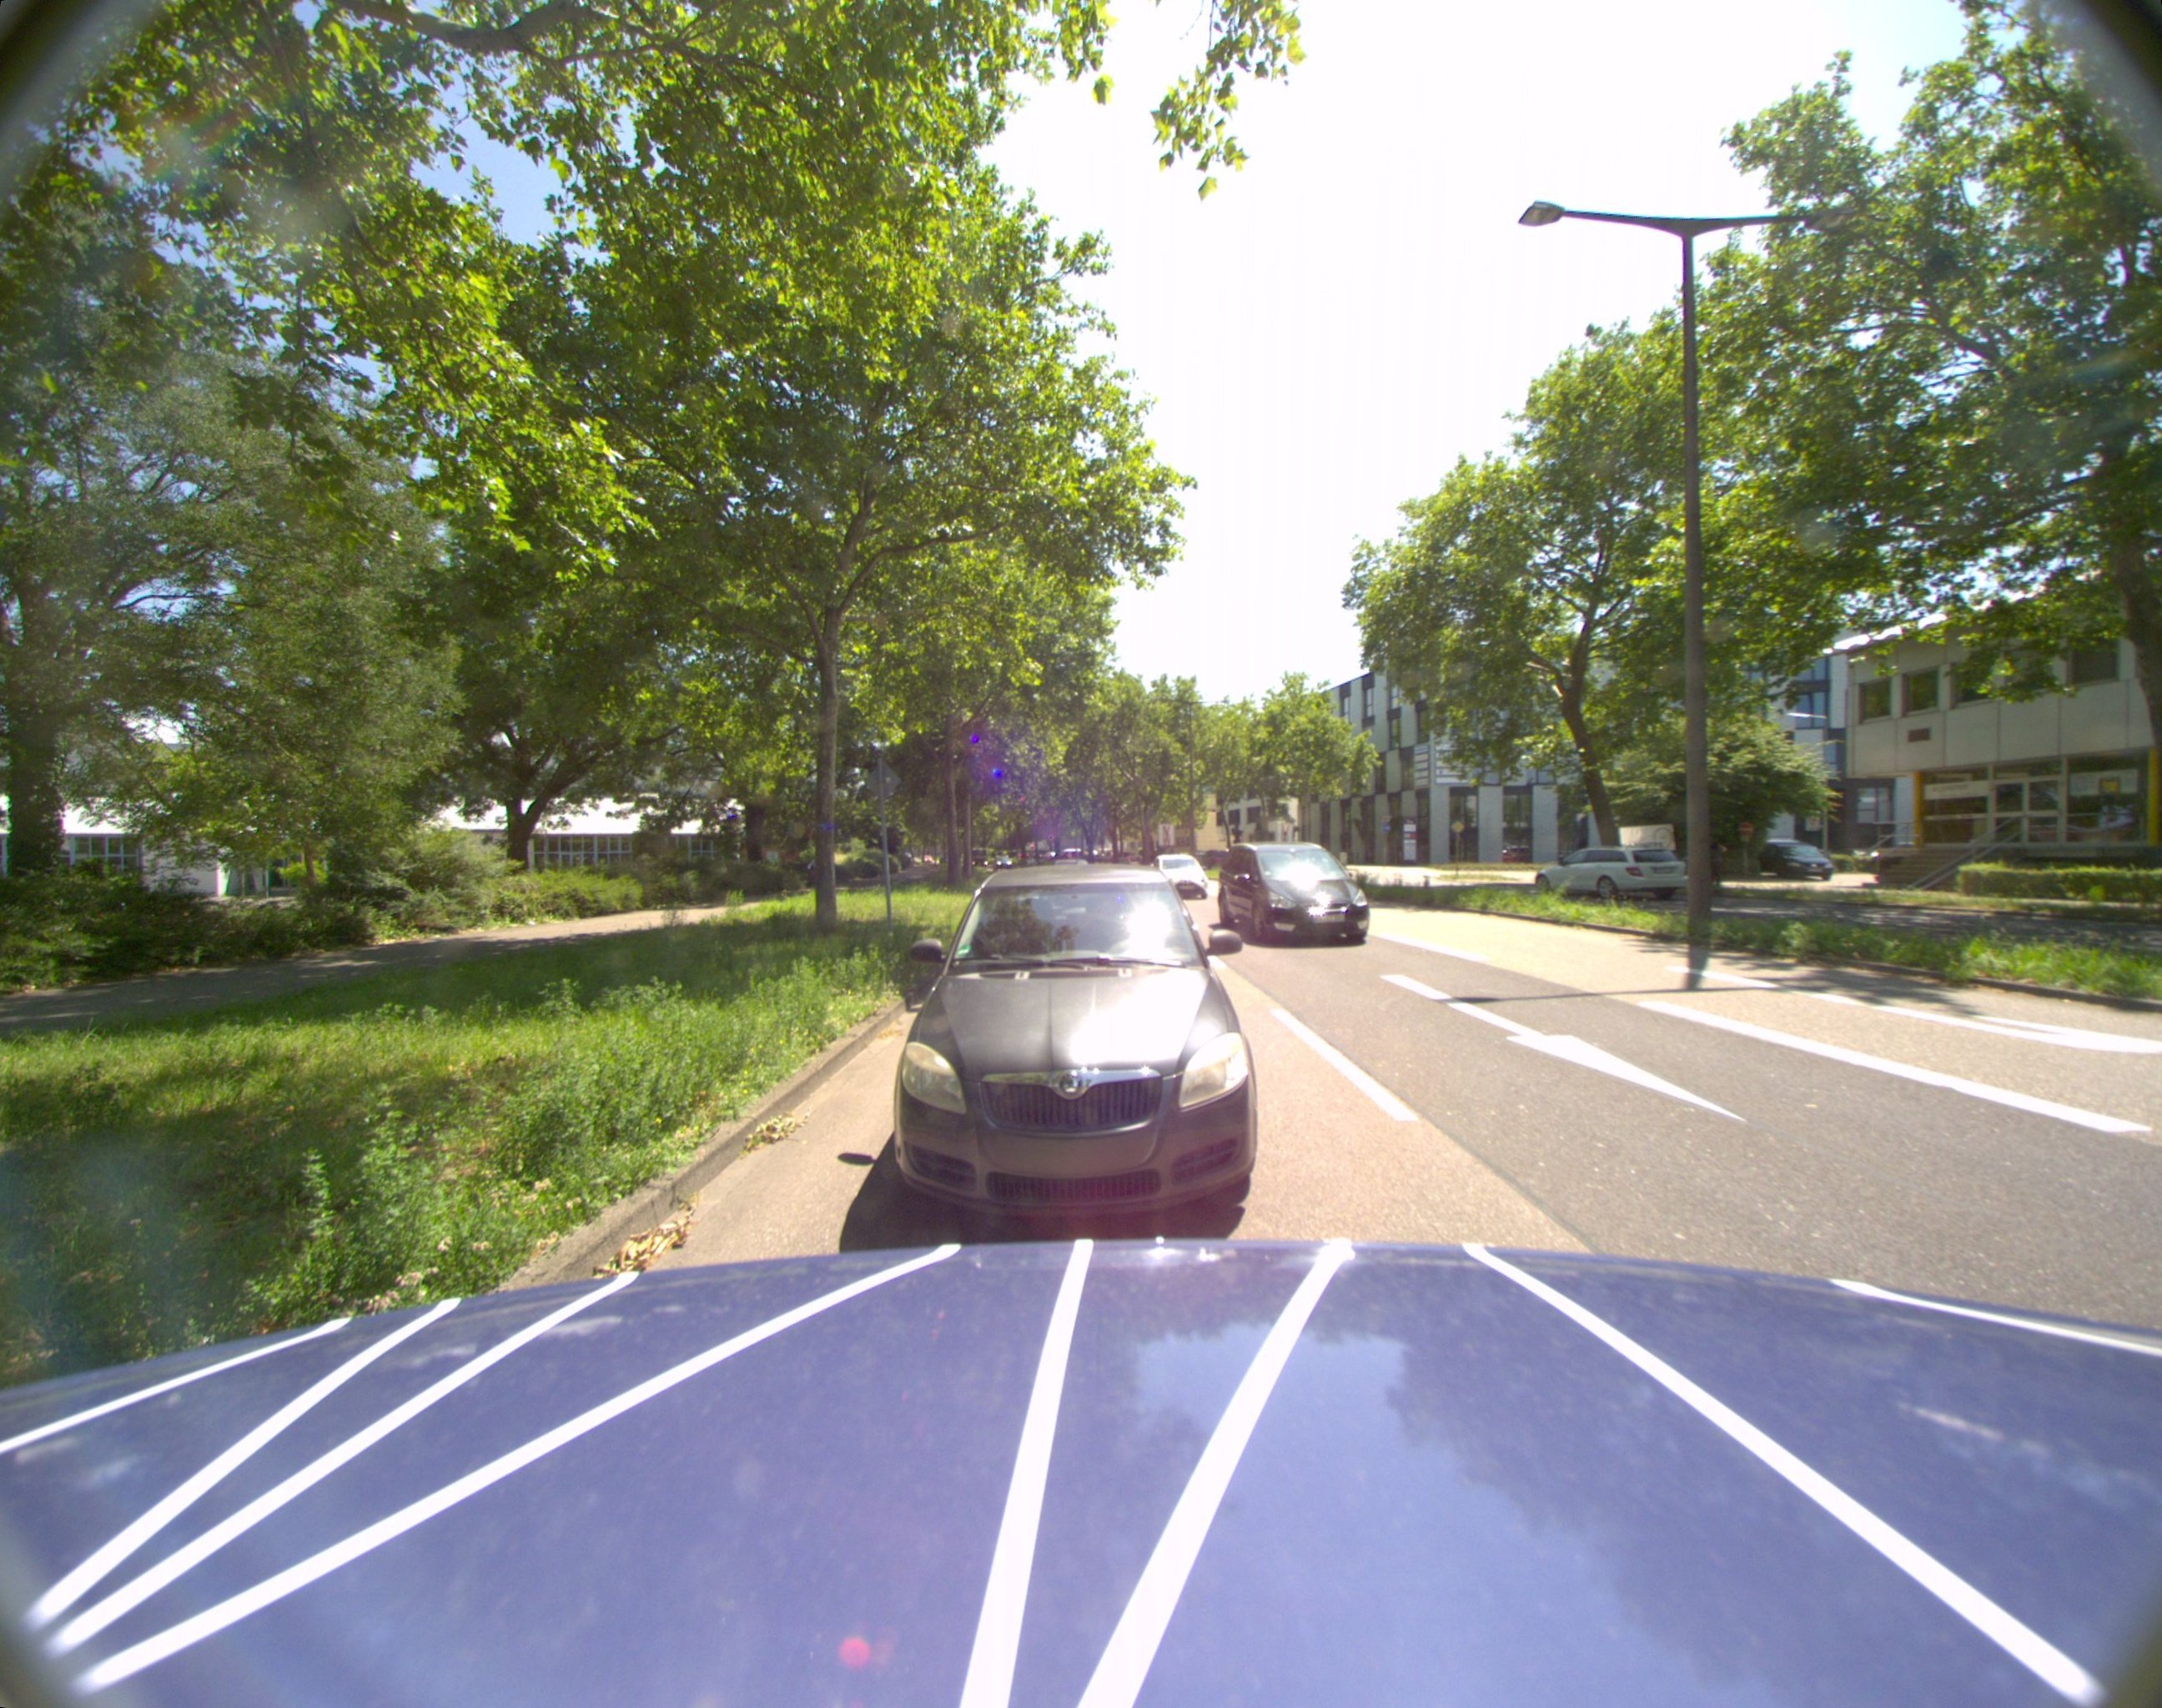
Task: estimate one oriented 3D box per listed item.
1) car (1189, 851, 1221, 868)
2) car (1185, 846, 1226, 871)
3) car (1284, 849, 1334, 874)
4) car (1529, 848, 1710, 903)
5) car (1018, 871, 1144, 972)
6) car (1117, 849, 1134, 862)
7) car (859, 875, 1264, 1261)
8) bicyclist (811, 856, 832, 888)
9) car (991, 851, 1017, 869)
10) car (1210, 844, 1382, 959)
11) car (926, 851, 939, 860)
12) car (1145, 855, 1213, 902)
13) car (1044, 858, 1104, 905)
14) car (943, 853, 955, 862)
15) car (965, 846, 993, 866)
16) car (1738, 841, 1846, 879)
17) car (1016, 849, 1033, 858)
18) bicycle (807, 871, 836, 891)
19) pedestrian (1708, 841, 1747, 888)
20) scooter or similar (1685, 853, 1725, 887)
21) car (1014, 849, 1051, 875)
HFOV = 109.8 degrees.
[{"bbox_3d":[11.100,0.496,68.250,1.757,1.435,3.669,-1,0,-10],"label":"car"},{"bbox_3d":[8.700,0.305,53.343,1.954,1.646,4.620,-1,0,-2],"label":"car"},{"bbox_3d":[13.982,0.416,46.786,1.737,1.450,3.672,-1,0,-4],"label":"car"},{"bbox_3d":[15.214,0.550,21.832,1.858,1.410,4.546,-1,0,-3],"label":"car"},{"bbox_3d":[0.029,1.026,12.885,1.791,1.325,3.742,-2,0,1],"label":"car"},{"bbox_3d":[5.121,0.186,87.321,1.537,1.519,2.852,-1,0,-6],"label":"car"},{"bbox_3d":[-0.056,0.951,5.098,1.654,1.453,3.865,-1,0,1],"label":"car"},{"bbox_3d":[-11.024,0.746,32.319,0.600,1.331,0.666,-1,1,8],"label":"bicyclist"},{"bbox_3d":[-8.364,0.640,82.510,2.001,1.783,3.994,-1,0,-17],"label":"car"},{"bbox_3d":[3.726,0.727,14.120,1.859,1.745,4.648,-1,0,0],"label":"car"},{"bbox_3d":[-28.687,0.261,146.878,2.002,1.827,3.993,-1,0,-19],"label":"car"},{"bbox_3d":[3.301,0.800,26.284,1.623,1.437,3.650,-2,0,-4],"label":"car"},{"bbox_3d":[-0.198,0.896,26.288,1.878,1.448,3.786,-2,0,1],"label":"car"},{"bbox_3d":[-22.637,0.593,130.345,1.510,1.379,3.422,-1,0,-19],"label":"car"},{"bbox_3d":[-14.304,0.218,106.362,2.922,2.639,6.356,-1,1,-16],"label":"car"},{"bbox_3d":[32.821,0.239,35.194,1.819,1.638,3.528,-2,1,4],"label":"car"},{"bbox_3d":[-10.518,-0.149,141.606,1.957,1.600,3.992,-1,0,-21],"label":"car"},{"bbox_3d":[-10.985,1.146,32.250,0.464,0.760,1.669,-1,0,8],"label":"bicycle"},{"bbox_3d":[21.905,0.349,25.766,0.643,1.551,0.791,-1,1,-6],"label":"pedestrian"},{"bbox_3d":[21.830,0.556,26.602,0.680,1.157,0.859,-1,1,-5],"label":"scooter or similar"},{"bbox_3d":[-3.648,0.588,56.746,2.001,1.870,3.995,-1,0,-15],"label":"car"}]
